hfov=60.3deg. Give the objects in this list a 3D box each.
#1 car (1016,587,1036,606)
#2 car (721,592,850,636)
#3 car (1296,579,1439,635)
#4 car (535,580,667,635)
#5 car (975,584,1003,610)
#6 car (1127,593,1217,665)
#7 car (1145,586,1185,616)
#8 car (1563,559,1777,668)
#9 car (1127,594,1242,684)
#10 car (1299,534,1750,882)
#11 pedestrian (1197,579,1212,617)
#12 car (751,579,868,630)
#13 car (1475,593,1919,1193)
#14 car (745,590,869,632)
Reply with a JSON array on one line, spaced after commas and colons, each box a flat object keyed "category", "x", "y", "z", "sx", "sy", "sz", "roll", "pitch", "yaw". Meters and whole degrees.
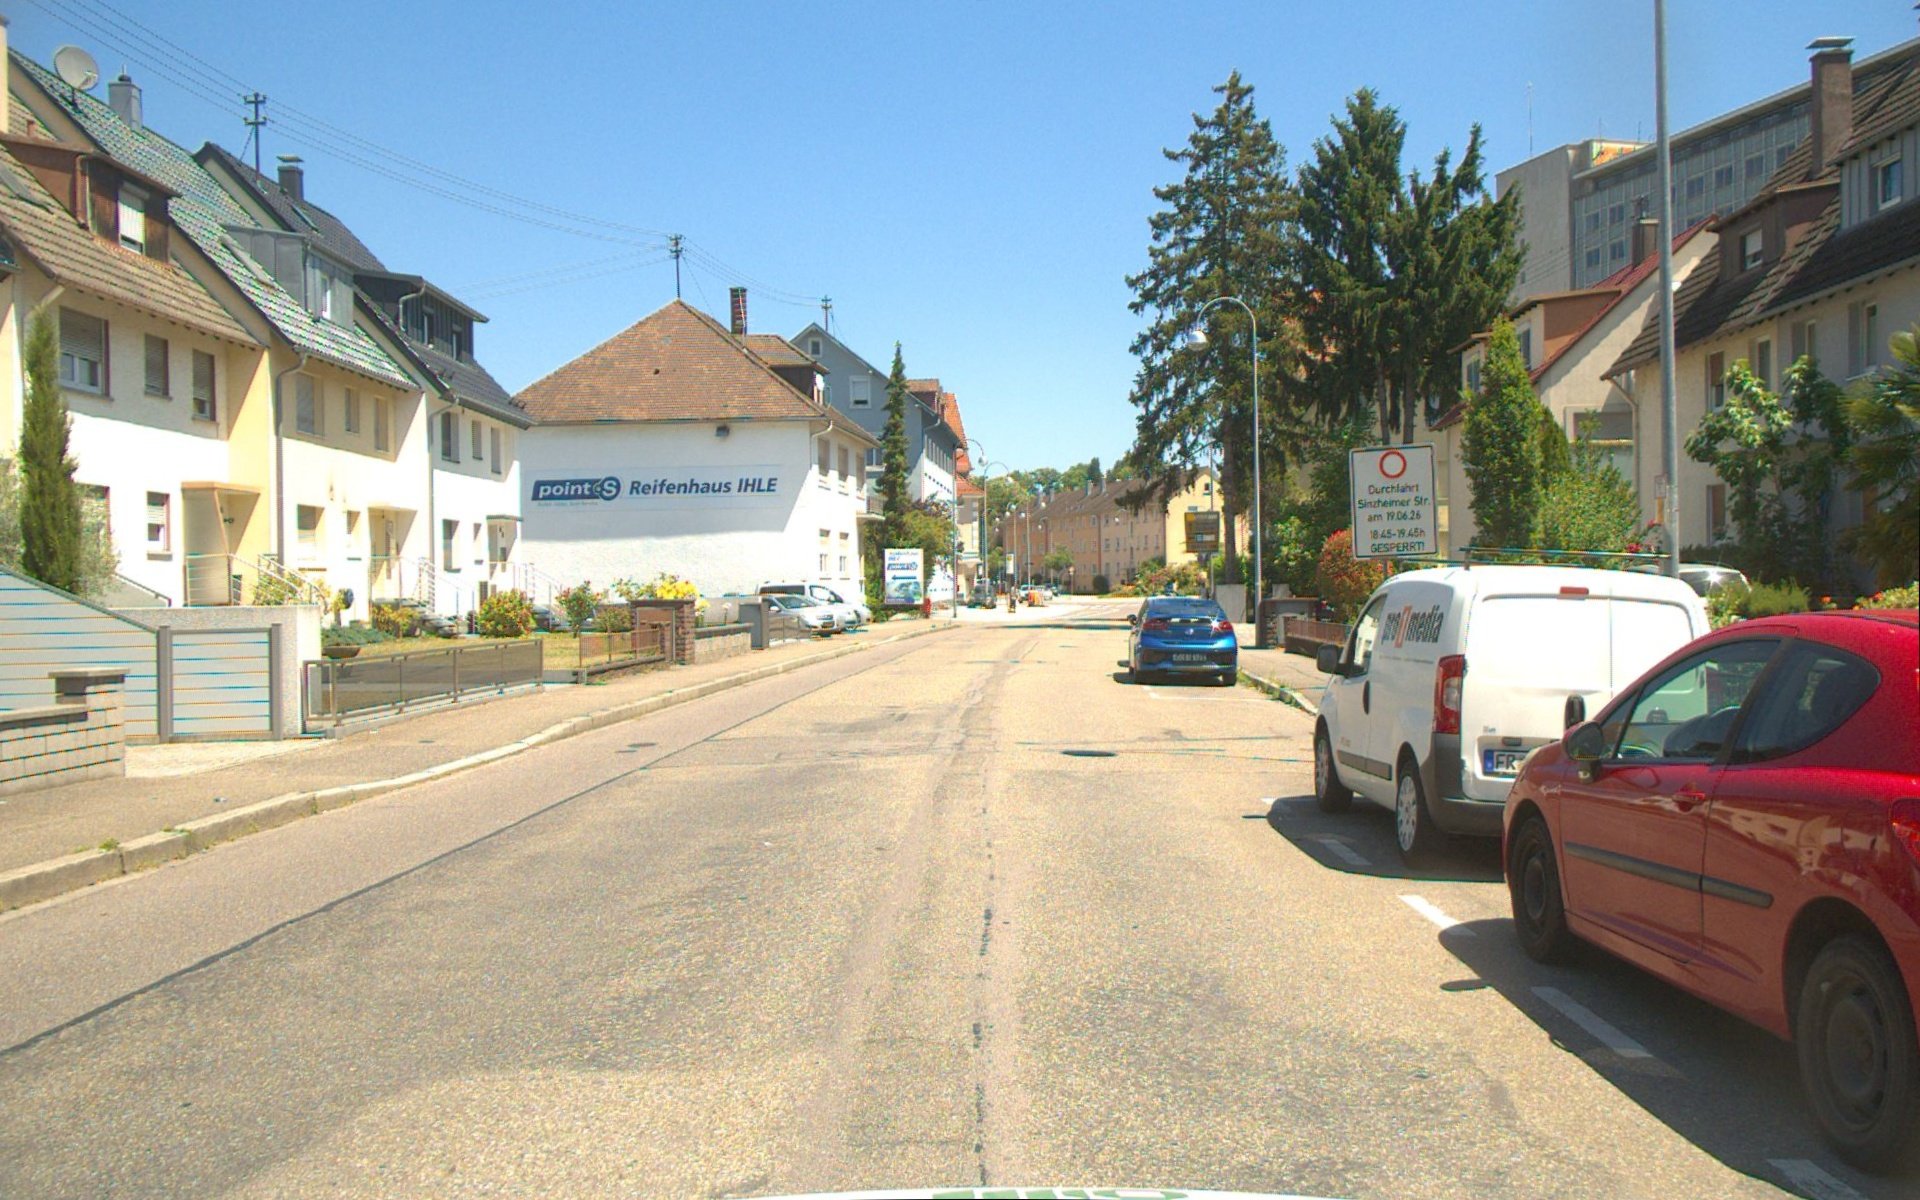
[{"category": "car", "x": 5.754, "y": -0.351, "z": 144.576, "sx": 1.563, "sy": 1.634, "sz": 3.409, "roll": 0, "pitch": 0, "yaw": -2}, {"category": "car", "x": -5.754, "y": 0.448, "z": 54.299, "sx": 4.062, "sy": 1.367, "sz": 1.903, "roll": 0, "pitch": 1, "yaw": 38}, {"category": "car", "x": 12.280, "y": 0.207, "z": 50.021, "sx": 3.903, "sy": 1.639, "sz": 1.834, "roll": 0, "pitch": 1, "yaw": 3}, {"category": "car", "x": -10.658, "y": 0.190, "z": 48.999, "sx": 3.926, "sy": 1.536, "sz": 1.791, "roll": 1, "pitch": 1, "yaw": 40}, {"category": "car", "x": 1.945, "y": -0.184, "z": 110.060, "sx": 1.720, "sy": 1.685, "sz": 4.002, "roll": 0, "pitch": 0, "yaw": 3}, {"category": "car", "x": 4.613, "y": 0.586, "z": 36.404, "sx": 1.689, "sy": 1.444, "sz": 4.016, "roll": 1, "pitch": 0, "yaw": 4}, {"category": "car", "x": 10.812, "y": 0.037, "z": 87.121, "sx": 1.756, "sy": 1.536, "sz": 4.004, "roll": 0, "pitch": 1, "yaw": 12}, {"category": "car", "x": 11.292, "y": 0.202, "z": 26.610, "sx": 1.757, "sy": 1.597, "sz": 4.000, "roll": -1, "pitch": 0, "yaw": 1}, {"category": "car", "x": 3.971, "y": 0.644, "z": 29.821, "sx": 1.741, "sy": 1.430, "sz": 4.288, "roll": 1, "pitch": 0, "yaw": 4}, {"category": "car", "x": 3.404, "y": 0.590, "z": 10.772, "sx": 1.629, "sy": 1.786, "sz": 4.001, "roll": 2, "pitch": -1, "yaw": 2}, {"category": "pedestrian", "x": 11.748, "y": -0.091, "z": 79.473, "sx": 0.674, "sy": 1.801, "sz": 0.692, "roll": 0, "pitch": -2, "yaw": 10}, {"category": "car", "x": -5.402, "y": 0.154, "z": 59.798, "sx": 4.044, "sy": 1.805, "sz": 1.828, "roll": 0, "pitch": 1, "yaw": -1}, {"category": "car", "x": 3.225, "y": 0.746, "z": 5.767, "sx": 1.629, "sy": 1.480, "sz": 4.000, "roll": 2, "pitch": 0, "yaw": 1}, {"category": "car", "x": -5.275, "y": 0.373, "z": 57.246, "sx": 4.042, "sy": 1.418, "sz": 1.829, "roll": 0, "pitch": 1, "yaw": 3}]
